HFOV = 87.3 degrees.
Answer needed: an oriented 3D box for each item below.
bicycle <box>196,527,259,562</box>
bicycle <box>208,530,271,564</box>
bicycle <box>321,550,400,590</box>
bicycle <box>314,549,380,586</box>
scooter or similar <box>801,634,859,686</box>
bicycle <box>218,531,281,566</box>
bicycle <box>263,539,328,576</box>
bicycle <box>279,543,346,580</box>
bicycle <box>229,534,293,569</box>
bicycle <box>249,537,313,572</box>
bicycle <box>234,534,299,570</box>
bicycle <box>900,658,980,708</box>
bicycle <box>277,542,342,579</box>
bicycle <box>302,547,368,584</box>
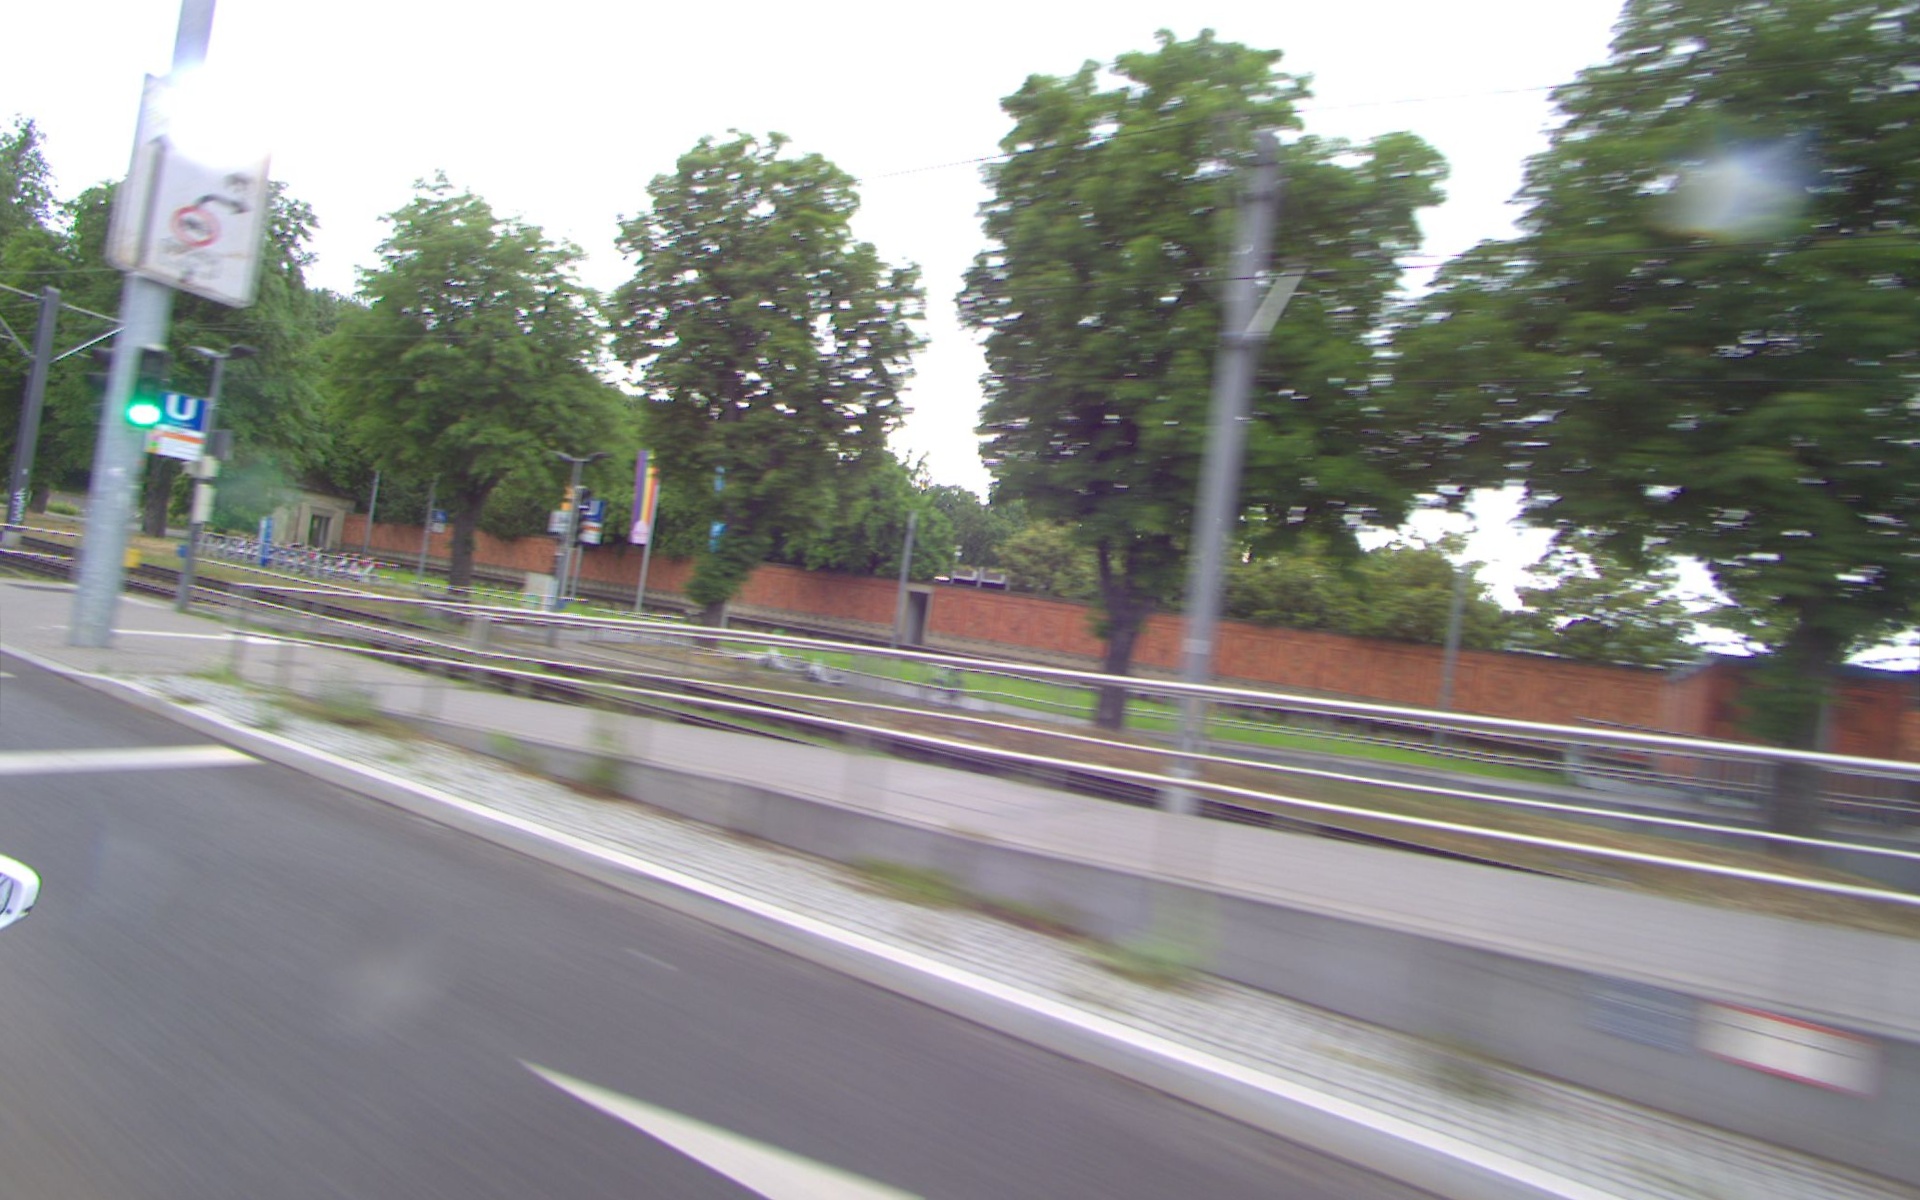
[{"bbox_3d":[-29.062,-2.191,39.954,0.641,1.044,1.815,8,-1,29],"label":"bicycle"},{"bbox_3d":[-28.278,-2.076,39.531,0.641,1.044,1.815,8,-1,29],"label":"bicycle"},{"bbox_3d":[-20.902,-1.024,35.134,0.677,1.043,2.229,8,-1,29],"label":"bicycle"},{"bbox_3d":[-21.666,-1.134,35.598,0.641,1.044,1.815,8,-1,29],"label":"bicycle"},{"bbox_3d":[-3.136,1.470,24.417,0.424,1.150,1.547,8,-1,30],"label":"scooter or similar"},{"bbox_3d":[-27.583,-1.980,39.077,0.641,1.044,1.815,8,-1,29],"label":"bicycle"},{"bbox_3d":[-24.473,-1.553,37.076,0.641,1.046,1.815,8,-1,29],"label":"bicycle"},{"bbox_3d":[-23.544,-1.406,36.611,0.641,1.044,1.851,8,-1,29],"label":"bicycle"},{"bbox_3d":[-26.834,-1.866,38.665,0.641,1.044,1.815,8,-1,29],"label":"bicycle"},{"bbox_3d":[-25.651,-1.709,38.046,0.641,1.044,1.815,8,-1,29],"label":"bicycle"},{"bbox_3d":[-26.311,-1.810,38.206,0.641,1.044,1.839,8,-1,29],"label":"bicycle"},{"bbox_3d":[-0.403,1.855,22.204,0.560,0.968,2.327,8,-1,30],"label":"bicycle"},{"bbox_3d":[-23.729,-1.437,36.740,0.641,1.044,1.815,8,-1,29],"label":"bicycle"},{"bbox_3d":[-22.375,-1.231,36.040,0.641,1.044,1.815,8,-1,29],"label":"bicycle"}]
